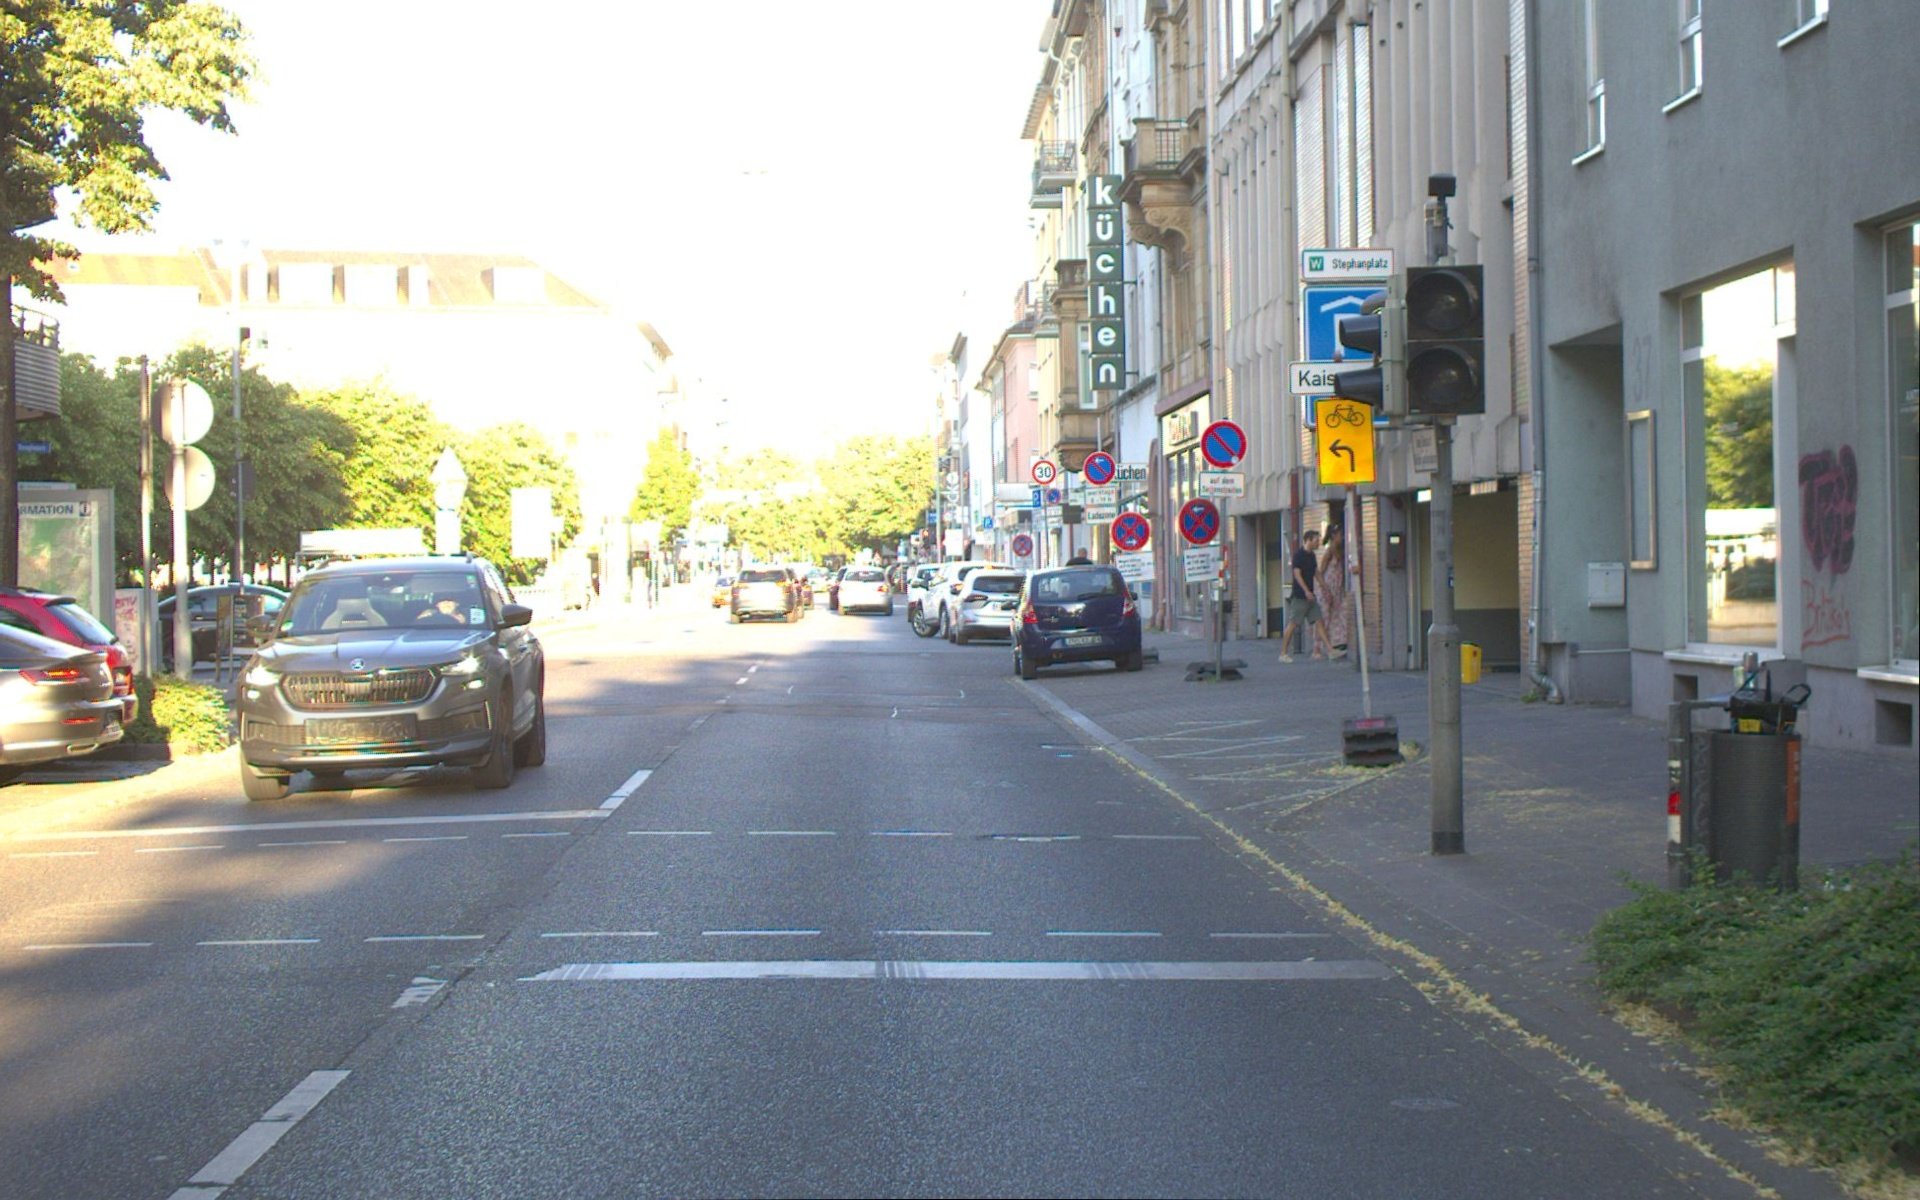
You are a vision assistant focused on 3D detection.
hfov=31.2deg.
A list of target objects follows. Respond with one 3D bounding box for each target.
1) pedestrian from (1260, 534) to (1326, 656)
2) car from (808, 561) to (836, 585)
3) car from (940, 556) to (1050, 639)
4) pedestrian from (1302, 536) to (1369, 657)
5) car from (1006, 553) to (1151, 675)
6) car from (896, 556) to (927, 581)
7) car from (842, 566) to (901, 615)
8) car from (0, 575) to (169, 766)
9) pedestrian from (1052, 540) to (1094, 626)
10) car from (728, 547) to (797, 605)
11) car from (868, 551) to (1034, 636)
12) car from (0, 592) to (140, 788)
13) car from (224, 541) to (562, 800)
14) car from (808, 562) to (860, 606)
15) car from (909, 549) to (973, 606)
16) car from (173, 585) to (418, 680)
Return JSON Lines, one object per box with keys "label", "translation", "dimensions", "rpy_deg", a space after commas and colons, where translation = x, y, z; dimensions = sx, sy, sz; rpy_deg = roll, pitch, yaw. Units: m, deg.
{"label": "pedestrian", "translation": [4.402, -0.068, 45.462], "dimensions": [0.604, 1.594, 0.774], "rpy_deg": [-1, 1, -18]}
{"label": "car", "translation": [-8.961, -1.774, 223.515], "dimensions": [1.779, 1.542, 4.000], "rpy_deg": [-1, 1, -3]}
{"label": "car", "translation": [0.646, -0.042, 67.054], "dimensions": [1.758, 1.531, 4.822], "rpy_deg": [1, 0, -4]}
{"label": "pedestrian", "translation": [4.995, -0.054, 45.725], "dimensions": [0.604, 1.594, 0.774], "rpy_deg": [-1, 1, -18]}
{"label": "car", "translation": [1.633, 0.161, 48.522], "dimensions": [1.759, 1.531, 4.000], "rpy_deg": [-4, 1, -1]}
{"label": "car", "translation": [-3.112, -1.996, 219.285], "dimensions": [1.896, 1.576, 3.852], "rpy_deg": [-1, 1, -2]}
{"label": "car", "translation": [-2.992, -0.335, 115.266], "dimensions": [1.896, 1.576, 4.000], "rpy_deg": [1, 0, -2]}
{"label": "car", "translation": [-8.847, 0.564, 28.723], "dimensions": [4.072, 1.531, 1.884], "rpy_deg": [0, 1, -1]}
{"label": "pedestrian", "translation": [2.443, -0.374, 74.550], "dimensions": [0.772, 1.821, 1.011], "rpy_deg": [-3, 1, -2]}
{"label": "car", "translation": [-5.745, -0.695, 100.281], "dimensions": [1.896, 1.644, 4.104], "rpy_deg": [-1, 0, -2]}
{"label": "car", "translation": [-0.236, -0.143, 75.275], "dimensions": [1.993, 1.755, 4.466], "rpy_deg": [-1, 1, -24]}
{"label": "car", "translation": [-8.616, 0.648, 25.709], "dimensions": [4.570, 1.403, 1.822], "rpy_deg": [0, 1, -3]}
{"label": "car", "translation": [-4.045, 0.439, 25.211], "dimensions": [1.861, 1.686, 4.461], "rpy_deg": [-1, 1, -2]}
{"label": "car", "translation": [-4.723, -0.600, 128.740], "dimensions": [1.896, 1.576, 3.852], "rpy_deg": [2, 0, -2]}
{"label": "car", "translation": [-0.581, -0.669, 101.210], "dimensions": [1.729, 1.645, 4.285], "rpy_deg": [1, 0, -2]}
{"label": "car", "translation": [-11.447, 0.546, 59.438], "dimensions": [3.986, 1.576, 1.903], "rpy_deg": [1, 0, -6]}
